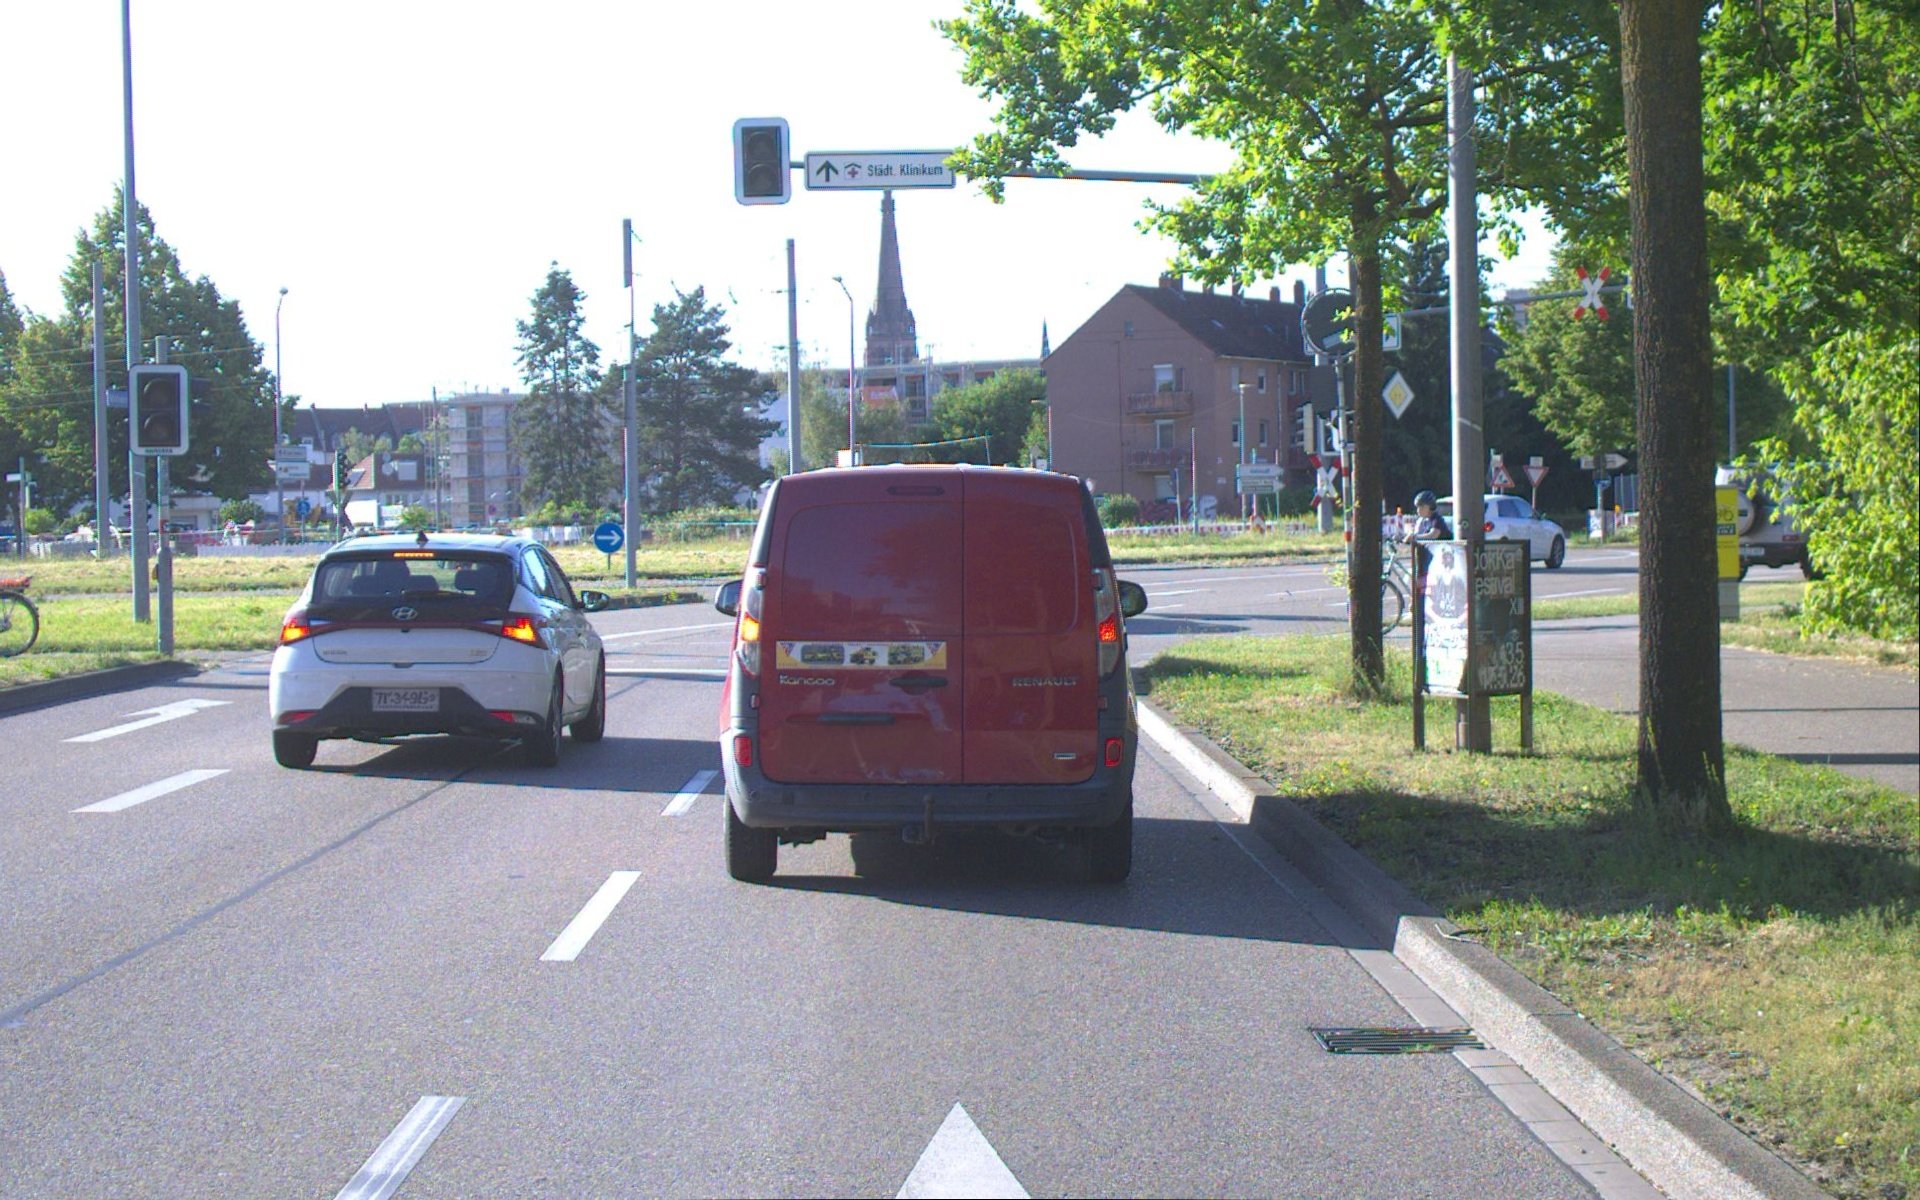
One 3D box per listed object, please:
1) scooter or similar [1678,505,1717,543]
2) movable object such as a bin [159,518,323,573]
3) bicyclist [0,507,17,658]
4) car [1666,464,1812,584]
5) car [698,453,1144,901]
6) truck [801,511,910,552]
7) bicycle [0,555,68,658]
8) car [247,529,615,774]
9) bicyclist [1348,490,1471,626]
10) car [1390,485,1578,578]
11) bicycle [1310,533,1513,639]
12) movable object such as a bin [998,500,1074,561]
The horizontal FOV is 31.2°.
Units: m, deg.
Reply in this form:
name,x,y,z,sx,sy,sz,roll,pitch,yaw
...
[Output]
name,x,y,z,sx,sy,sz,roll,pitch,yaw
scooter or similar,25.074,-2.595,116.888,0.443,1.243,1.264,0,-1,-39
movable object such as a bin,-37.867,-2.888,181.232,7.909,2.773,2.942,-2,2,-39
bicyclist,-10.998,-0.190,38.148,0.939,1.657,0.704,-1,0,-10
car,12.932,-1.237,57.290,1.997,1.890,4.751,-1,1,9
car,-0.138,0.277,15.901,1.802,1.807,3.810,0,1,1
truck,-5.422,-3.529,177.742,2.165,2.007,6.434,0,0,-39
bicycle,-10.800,0.075,38.193,1.649,1.124,0.704,-1,0,-10
car,-3.358,0.273,22.502,1.802,1.456,3.810,0,1,0
bicyclist,5.324,-0.496,40.781,1.084,1.556,0.876,-3,0,-23
car,9.896,-1.312,64.693,1.997,1.633,4.401,0,2,30
bicycle,5.356,-0.168,40.797,2.209,1.151,0.876,-3,0,-23
movable object such as a bin,3.524,-3.207,159.927,2.418,2.764,4.001,0,0,-16
